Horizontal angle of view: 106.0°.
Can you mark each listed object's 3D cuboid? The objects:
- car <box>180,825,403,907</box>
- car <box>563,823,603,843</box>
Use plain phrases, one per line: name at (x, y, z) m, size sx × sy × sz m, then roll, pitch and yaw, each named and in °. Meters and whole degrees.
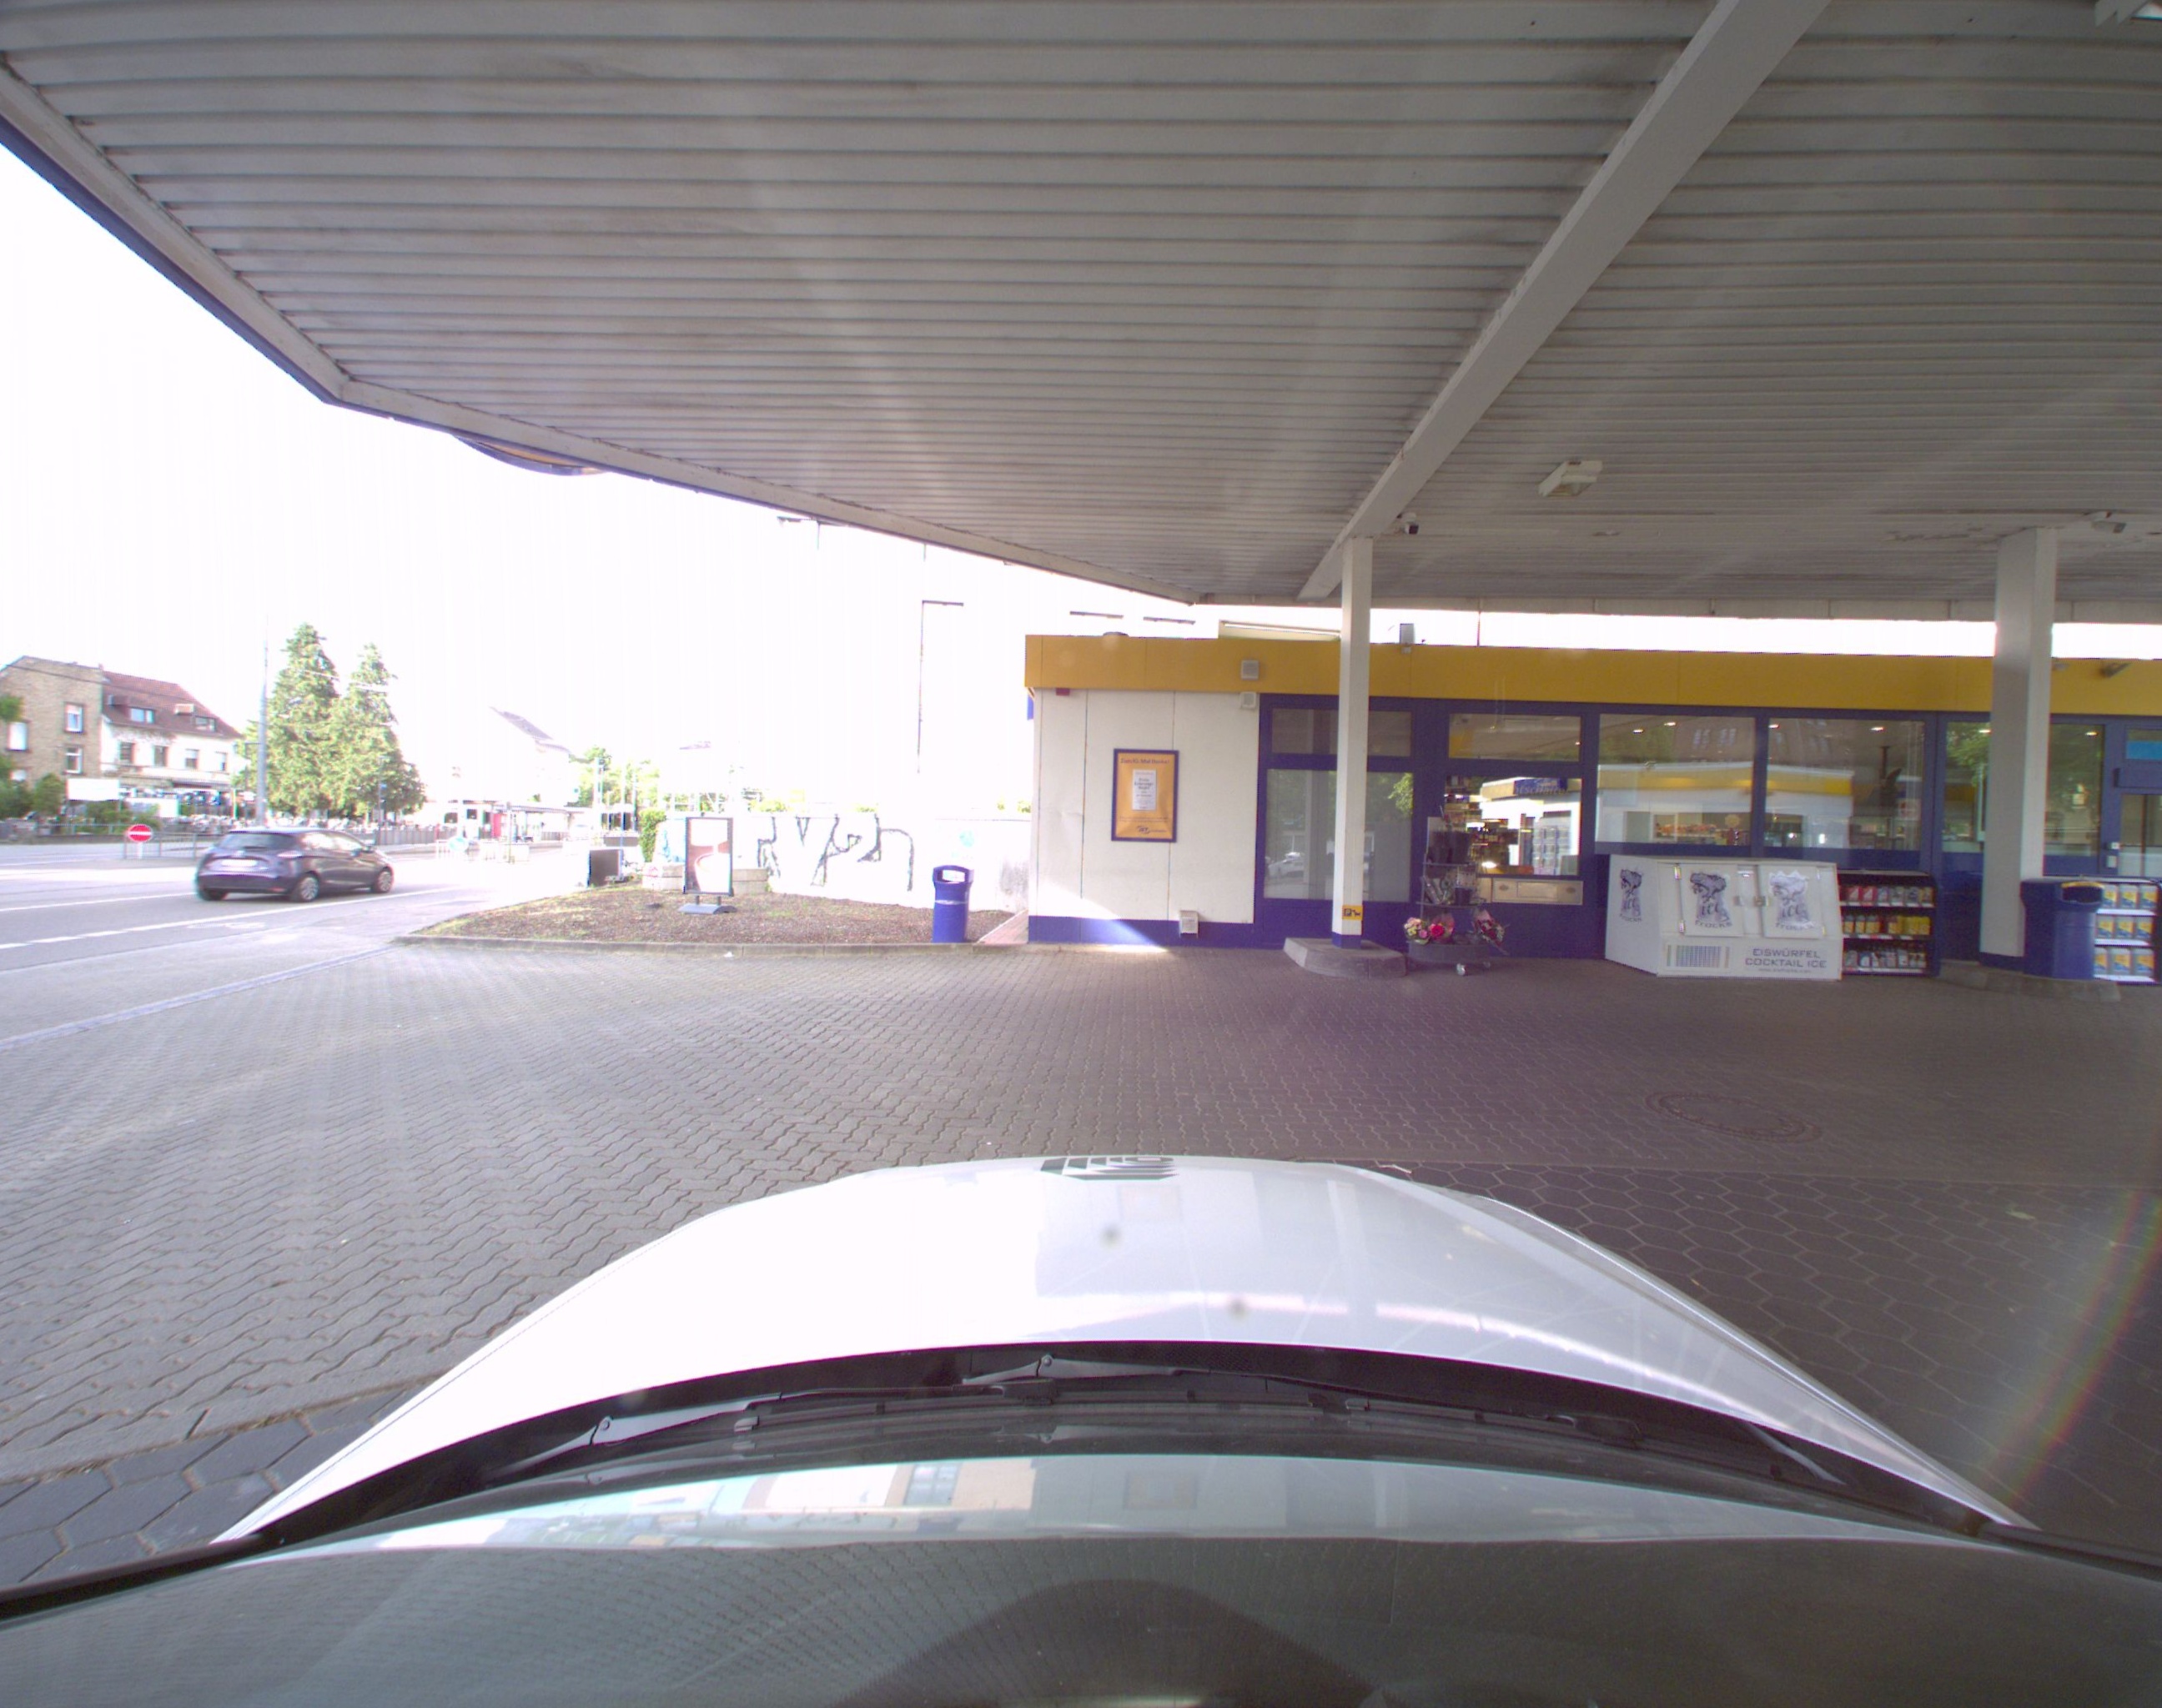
car at (-17.042, 0.198, 17.886) m, size 1.728 × 1.542 × 3.981 m, roll 2°, pitch 1°, yaw -15°
car at (-48.787, -2.013, 79.906) m, size 1.963 × 1.889 × 4.394 m, roll 1°, pitch 0°, yaw -12°
